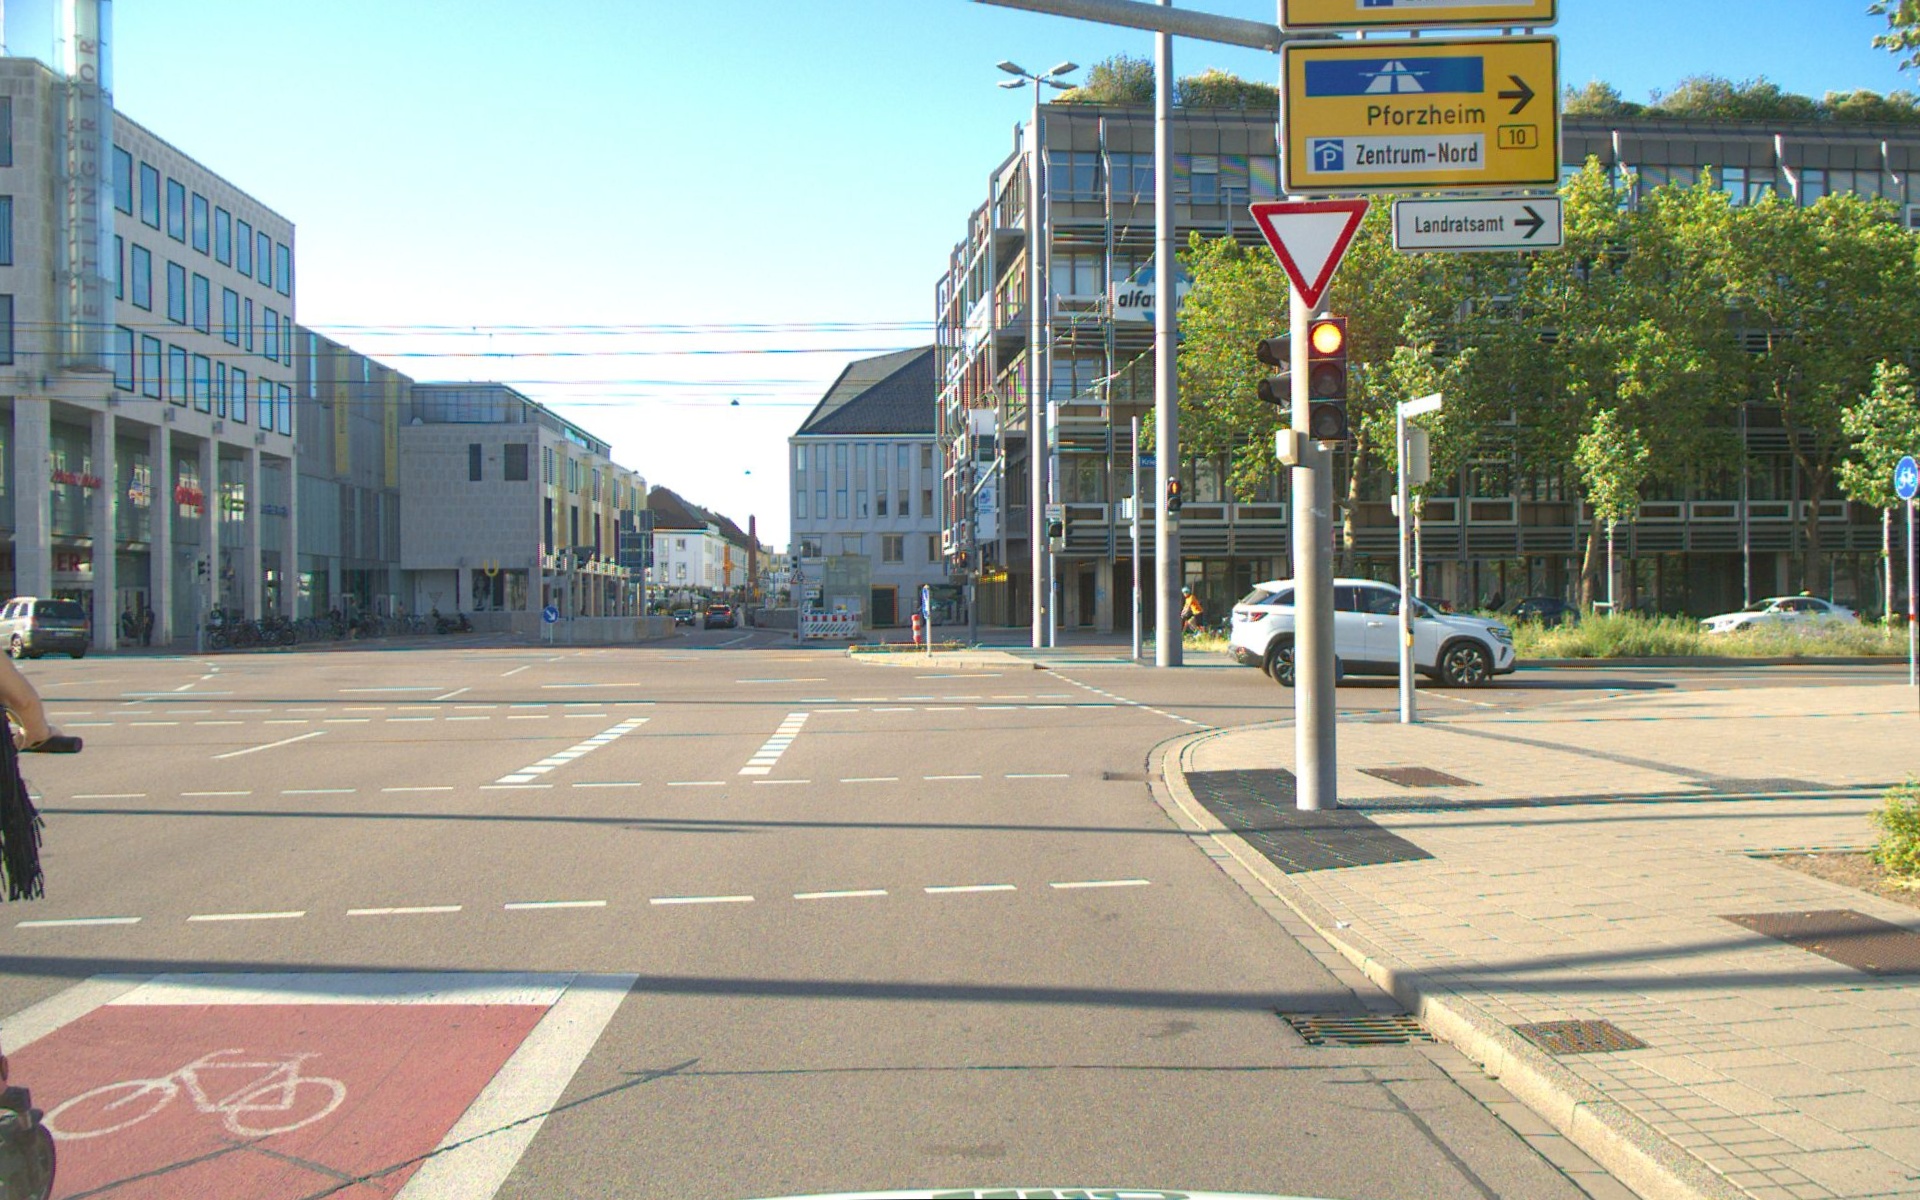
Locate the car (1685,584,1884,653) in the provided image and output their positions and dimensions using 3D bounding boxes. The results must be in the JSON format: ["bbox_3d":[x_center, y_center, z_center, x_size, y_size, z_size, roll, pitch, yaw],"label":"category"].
[{"bbox_3d":[26.167,0.586,52.573,5.332,2.049,2.096,1,0,-3],"label":"car"}]

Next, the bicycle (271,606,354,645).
[{"bbox_3d":[-30.043,1.185,76.780,3.430,1.726,0.984,-1,0,-12],"label":"bicycle"}]

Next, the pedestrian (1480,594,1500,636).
[{"bbox_3d":[20.445,0.584,63.804,0.529,1.618,0.586,-1,0,-3],"label":"pedestrian"}]

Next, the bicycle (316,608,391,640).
[{"bbox_3d":[-30.889,1.219,84.265,3.430,1.554,0.984,-1,0,-12],"label":"bicycle"}]

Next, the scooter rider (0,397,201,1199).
[{"bbox_3d":[-2.079,0.538,3.343,0.713,1.806,0.811,0,0,-1],"label":"scooter rider"}]

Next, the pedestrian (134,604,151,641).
[{"bbox_3d":[-34.679,0.955,70.160,0.472,1.537,0.513,-1,0,-5],"label":"pedestrian"}]

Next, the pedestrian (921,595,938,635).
[{"bbox_3d":[-1.285,0.617,69.599,0.650,1.687,0.755,-1,0,-4],"label":"pedestrian"}]

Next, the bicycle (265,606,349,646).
[{"bbox_3d":[-29.802,1.184,75.580,3.430,1.726,0.984,-1,0,-12],"label":"bicycle"}]

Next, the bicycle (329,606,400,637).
[{"bbox_3d":[-31.393,1.115,87.243,3.430,1.554,0.984,-1,0,-12],"label":"bicycle"}]

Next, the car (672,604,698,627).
[{"bbox_3d":[-23.248,1.293,139.852,1.722,1.814,3.997,-1,0,-4],"label":"car"}]

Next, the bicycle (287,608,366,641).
[{"bbox_3d":[-30.546,1.177,79.855,3.430,1.554,0.984,-1,0,-12],"label":"bicycle"}]

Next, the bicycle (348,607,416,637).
[{"bbox_3d":[-31.951,1.204,91.423,3.430,1.554,0.984,-1,0,-12],"label":"bicycle"}]

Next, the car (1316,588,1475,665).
[{"bbox_3d":[12.226,0.740,46.576,3.908,2.049,1.999,1,0,-3],"label":"car"}]

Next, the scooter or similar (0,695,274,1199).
[{"bbox_3d":[-2.062,0.852,3.297,0.713,1.223,1.664,0,0,-1],"label":"scooter or similar"}]

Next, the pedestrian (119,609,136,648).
[{"bbox_3d":[-35.010,1.203,69.554,0.472,1.613,0.513,-1,0,-5],"label":"pedestrian"}]

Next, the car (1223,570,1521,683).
[{"bbox_3d":[6.379,0.390,26.040,4.299,1.689,2.001,0,1,5],"label":"car"}]

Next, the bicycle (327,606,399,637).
[{"bbox_3d":[-31.076,1.127,86.126,3.430,1.554,0.984,-1,0,-12],"label":"bicycle"}]

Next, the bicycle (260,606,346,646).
[{"bbox_3d":[-29.578,1.175,74.492,3.430,1.726,0.984,-1,0,-12],"label":"bicycle"}]

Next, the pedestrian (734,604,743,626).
[{"bbox_3d":[-14.490,0.972,108.205,0.598,1.436,0.569,-1,0,-7],"label":"pedestrian"}]

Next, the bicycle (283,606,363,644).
[{"bbox_3d":[-30.342,1.194,78.865,3.430,1.726,0.984,-1,0,-12],"label":"bicycle"}]

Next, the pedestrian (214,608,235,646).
[{"bbox_3d":[-33.329,1.226,74.946,0.772,1.671,0.691,-1,0,-18],"label":"pedestrian"}]

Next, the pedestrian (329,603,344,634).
[{"bbox_3d":[-33.630,1.002,89.200,0.641,1.671,0.693,-1,0,-9],"label":"pedestrian"}]

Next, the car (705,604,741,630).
[{"bbox_3d":[-15.500,1.104,108.161,2.157,1.635,4.320,-1,0,-6],"label":"car"}]

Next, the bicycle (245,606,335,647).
[{"bbox_3d":[-29.103,1.130,71.923,3.427,1.726,1.114,-1,0,-10],"label":"bicycle"}]

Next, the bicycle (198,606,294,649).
[{"bbox_3d":[-29.327,1.119,68.031,3.427,1.726,1.114,-1,0,-10],"label":"bicycle"}]

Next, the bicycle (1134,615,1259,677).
[{"bbox_3d":[6.743,1.308,47.221,3.427,1.688,0.929,-1,0,-10],"label":"bicycle"}]

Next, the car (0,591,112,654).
[{"bbox_3d":[-25.598,0.625,45.676,4.388,1.635,1.994,-1,1,34],"label":"car"}]

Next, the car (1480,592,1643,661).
[{"bbox_3d":[18.822,0.828,51.877,4.359,2.049,1.998,1,0,-6],"label":"car"}]

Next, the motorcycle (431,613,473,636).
[{"bbox_3d":[-29.958,1.442,97.593,2.230,1.341,0.719,-1,0,-6],"label":"motorcycle"}]

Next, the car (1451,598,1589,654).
[{"bbox_3d":[18.664,0.858,55.207,3.908,1.780,1.998,1,0,-5],"label":"car"}]

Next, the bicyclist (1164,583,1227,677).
[{"bbox_3d":[6.713,0.839,47.221,1.539,2.625,0.930,-1,0,-10],"label":"bicyclist"}]

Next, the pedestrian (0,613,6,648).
[{"bbox_3d":[-38.761,1.232,66.773,0.382,1.437,0.433,-1,0,-29],"label":"pedestrian"}]

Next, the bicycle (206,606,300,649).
[{"bbox_3d":[-29.559,1.139,69.230,3.427,1.726,1.114,-1,0,-10],"label":"bicycle"}]

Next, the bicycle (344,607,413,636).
[{"bbox_3d":[-31.788,1.174,90.399,3.430,1.554,0.984,-1,0,-12],"label":"bicycle"}]

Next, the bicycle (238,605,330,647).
[{"bbox_3d":[-28.872,1.094,70.711,3.427,1.726,1.114,-1,0,-10],"label":"bicycle"}]
